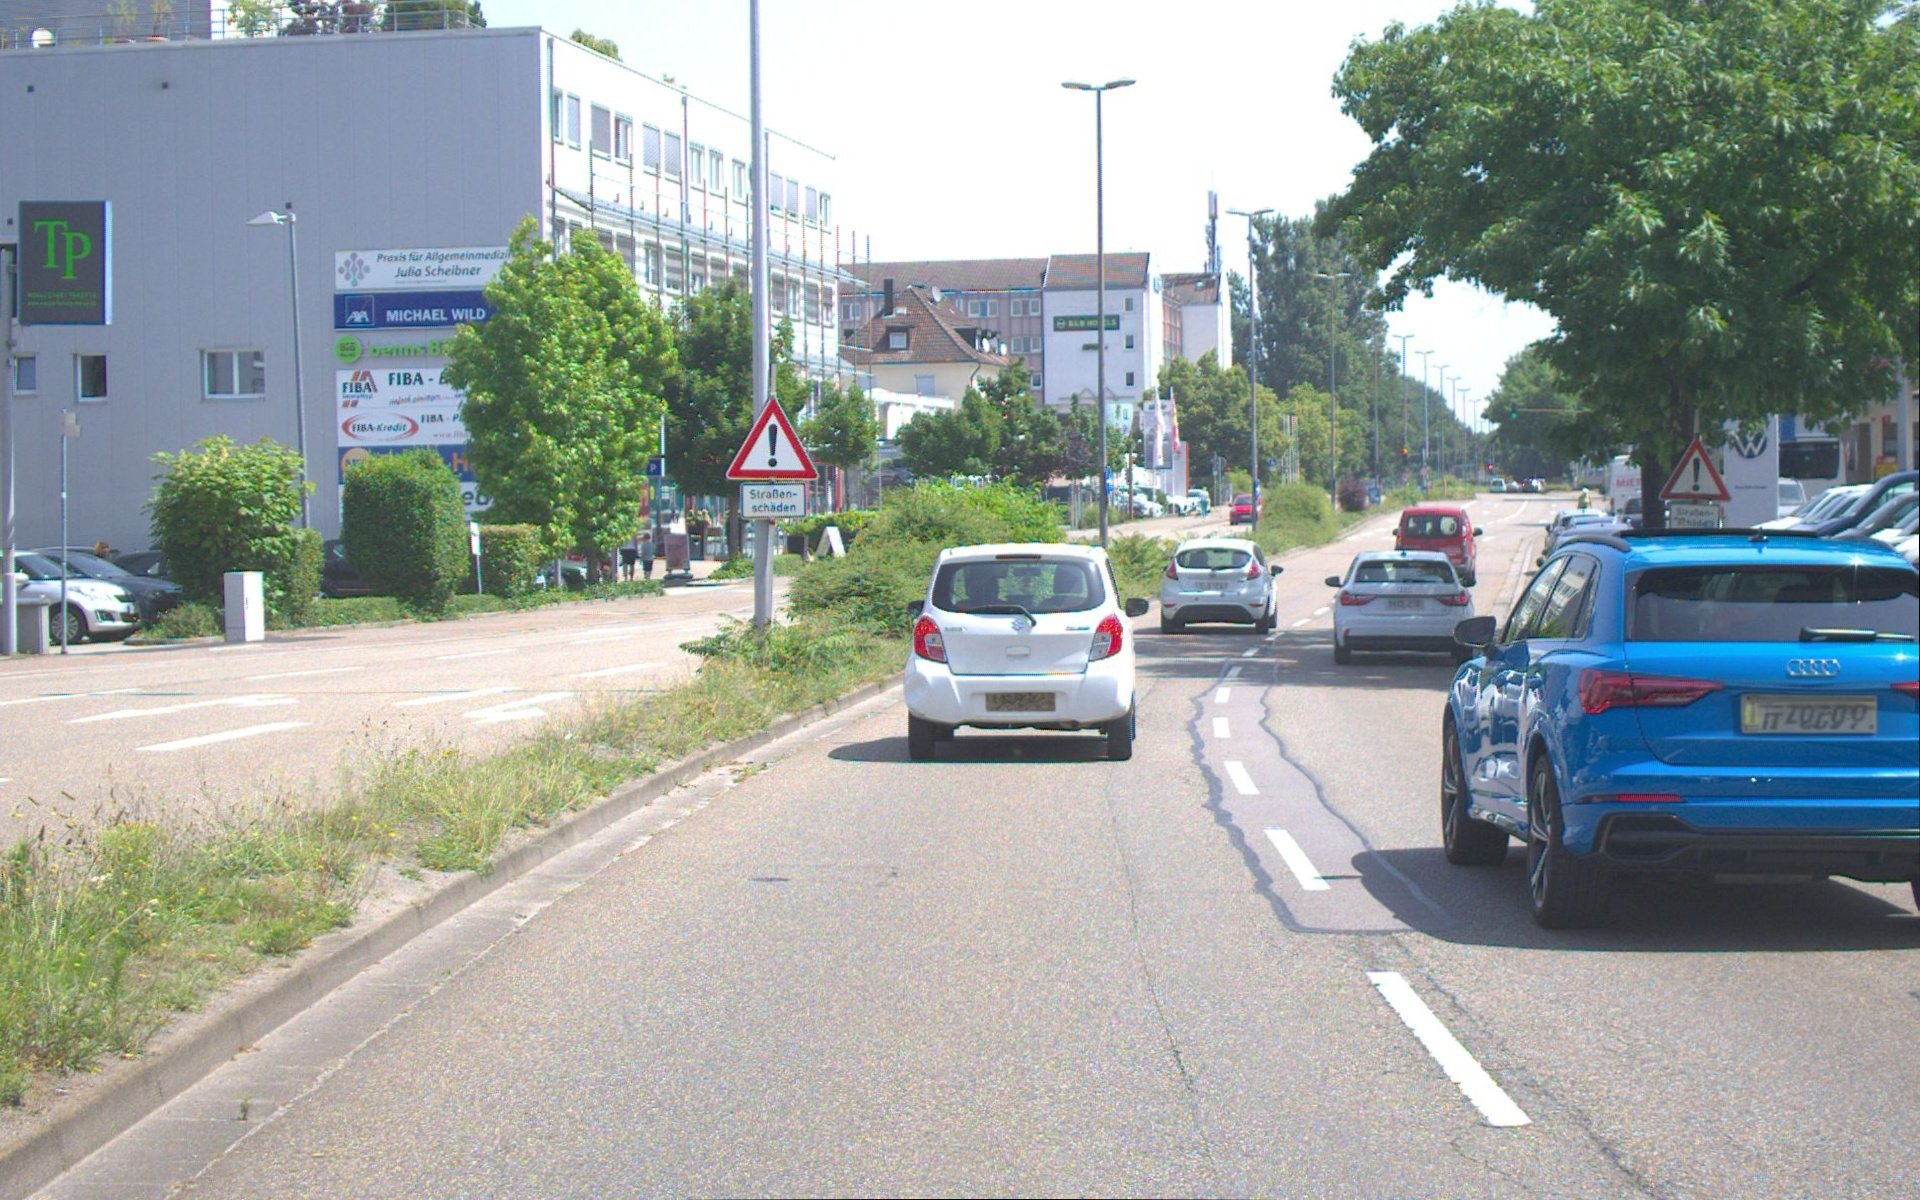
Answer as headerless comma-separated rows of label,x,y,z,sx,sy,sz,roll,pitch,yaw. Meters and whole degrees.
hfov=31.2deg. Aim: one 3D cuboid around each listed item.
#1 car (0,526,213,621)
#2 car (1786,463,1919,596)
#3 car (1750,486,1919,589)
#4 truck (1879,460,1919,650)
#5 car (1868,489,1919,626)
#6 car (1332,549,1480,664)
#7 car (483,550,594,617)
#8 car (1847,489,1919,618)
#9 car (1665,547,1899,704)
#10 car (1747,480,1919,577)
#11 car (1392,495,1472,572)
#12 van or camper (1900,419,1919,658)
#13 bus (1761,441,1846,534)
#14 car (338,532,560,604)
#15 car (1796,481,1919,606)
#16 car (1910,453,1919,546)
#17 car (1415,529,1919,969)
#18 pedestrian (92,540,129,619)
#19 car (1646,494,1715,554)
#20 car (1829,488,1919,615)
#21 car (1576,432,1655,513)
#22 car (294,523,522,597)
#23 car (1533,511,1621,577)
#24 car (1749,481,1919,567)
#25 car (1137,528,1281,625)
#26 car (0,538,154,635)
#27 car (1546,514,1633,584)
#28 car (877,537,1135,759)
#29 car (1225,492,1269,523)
car,-14.306,-0.412,55.524,3.999,1.366,1.668,-2,2,12
car,18.947,-1.326,66.115,5.846,2.515,2.203,1,0,12
car,18.914,-1.246,69.017,5.897,2.007,2.258,1,1,12
truck,14.777,-0.677,44.737,5.249,2.427,2.110,-2,1,11
car,15.891,-0.688,50.134,4.915,1.964,2.141,-1,1,10
car,5.709,0.055,43.700,1.668,1.394,3.791,0,1,10
car,-10.328,-0.429,84.416,1.660,1.462,3.797,-3,2,9
car,16.827,-0.846,55.697,4.511,2.007,2.197,-3,0,11
car,8.060,0.204,34.016,1.798,1.401,4.319,1,1,8
car,20.129,-1.632,77.073,4.641,2.006,1.960,-2,2,8
car,11.036,-1.549,80.401,1.795,1.723,3.971,1,1,8
van or camper,15.086,-0.813,41.802,6.799,2.888,2.275,-1,2,9
bus,30.221,-4.119,123.469,2.806,3.068,12.279,0,3,13
car,-10.849,-0.691,73.106,4.225,1.344,1.980,-2,2,9
car,17.508,-1.075,61.170,4.901,2.107,2.128,-2,2,9
car,28.369,-2.856,97.114,2.257,2.666,7.015,-1,2,10
car,3.206,0.511,14.976,1.913,1.591,4.396,0,2,1
pedestrian,-17.854,-0.425,72.253,0.546,1.651,0.625,1,0,8
car,20.572,-2.178,98.279,1.668,1.590,4.611,-1,2,9
car,17.567,-0.913,58.681,5.066,2.089,2.040,-2,1,9
car,24.684,-4.784,129.644,2.133,2.830,7.308,-4,1,6
car,-11.271,-0.830,70.318,4.149,1.337,2.042,-2,2,7
car,15.318,-1.413,85.502,1.732,1.547,4.180,0,2,4
car,19.894,-1.694,77.029,4.151,1.775,1.881,-2,0,9
car,3.894,-0.391,54.355,1.830,1.445,4.000,1,1,-2
car,-14.580,-0.197,52.783,3.987,1.454,1.575,-1,0,5
car,14.641,-1.211,80.169,1.714,1.543,4.789,-1,1,7
car,0.399,0.328,25.395,1.712,1.505,3.246,1,0,4
car,13.779,-4.429,164.712,1.631,1.419,3.449,-3,1,11
